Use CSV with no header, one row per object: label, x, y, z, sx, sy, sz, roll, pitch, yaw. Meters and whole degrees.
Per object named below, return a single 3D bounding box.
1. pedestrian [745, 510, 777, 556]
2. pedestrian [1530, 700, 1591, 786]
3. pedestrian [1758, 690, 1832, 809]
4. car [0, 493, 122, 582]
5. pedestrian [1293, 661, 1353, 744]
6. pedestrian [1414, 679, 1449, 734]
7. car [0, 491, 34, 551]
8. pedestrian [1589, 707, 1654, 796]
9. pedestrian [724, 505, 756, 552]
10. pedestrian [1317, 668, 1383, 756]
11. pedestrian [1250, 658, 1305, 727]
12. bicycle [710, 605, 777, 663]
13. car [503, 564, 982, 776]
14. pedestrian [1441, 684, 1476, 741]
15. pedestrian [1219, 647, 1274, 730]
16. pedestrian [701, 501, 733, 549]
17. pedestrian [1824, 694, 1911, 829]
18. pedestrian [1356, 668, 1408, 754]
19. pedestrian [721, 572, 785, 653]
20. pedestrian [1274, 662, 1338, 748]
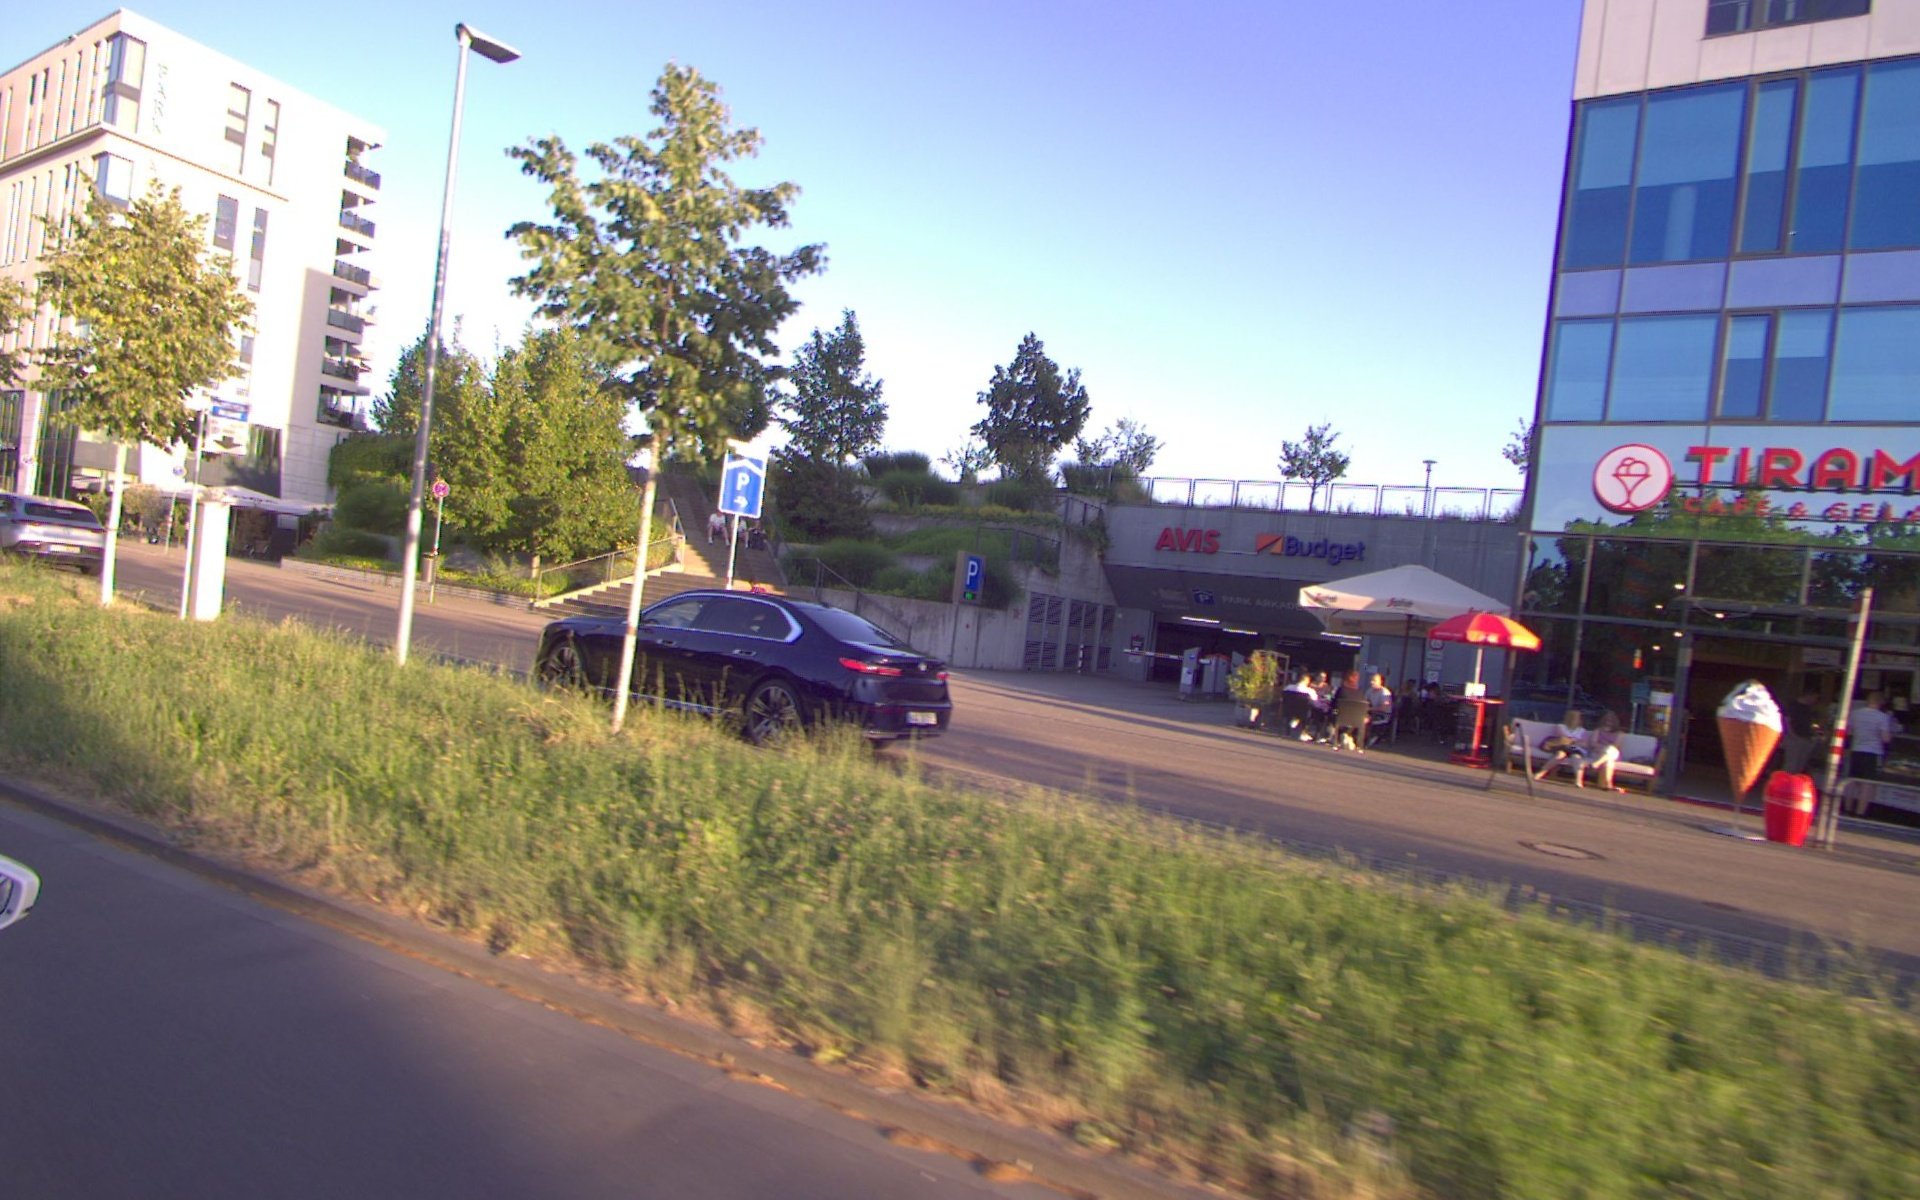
pedestrian,-6.532,-2.192,33.046,0.662,1.397,0.821,8,-1,-27
pedestrian,9.208,2.171,15.432,0.673,1.140,0.973,7,2,32
pedestrian,13.587,2.405,16.383,0.673,1.783,0.660,7,2,33
car,-21.206,-1.521,22.862,4.598,1.652,1.811,7,0,31
pedestrian,6.285,1.760,17.449,0.672,1.308,0.662,6,2,-1
pedestrian,11.230,2.539,23.958,0.527,1.230,0.474,7,0,38
car,-25.581,-2.209,25.672,3.933,1.414,1.753,7,-1,31
pedestrian,9.868,2.243,15.039,0.673,1.140,0.973,7,2,32
pedestrian,-7.141,-2.301,32.692,0.662,1.398,0.821,8,0,-27
pedestrian,6.311,1.790,16.277,0.674,1.308,0.774,7,2,38
pedestrian,6.451,1.878,20.428,0.758,1.281,0.744,7,0,32
bicycle,-4.706,0.724,21.774,0.540,1.056,1.892,6,0,-39
car,-2.596,0.669,11.386,5.321,1.519,1.922,7,-1,31
pedestrian,11.511,2.590,23.236,0.527,1.230,0.474,7,0,38
pedestrian,5.175,1.585,18.155,0.756,1.384,0.745,7,0,20
pedestrian,-7.800,-2.400,32.297,0.662,1.397,0.821,8,-1,-27
pedestrian,12.935,2.273,14.338,0.657,1.783,0.677,4,3,-41
pedestrian,7.060,1.846,16.857,0.617,1.308,0.684,6,2,19
pedestrian,-4.670,0.274,22.676,1.060,1.675,0.696,7,0,31
pedestrian,5.748,1.724,16.714,0.674,1.308,0.779,7,2,38
